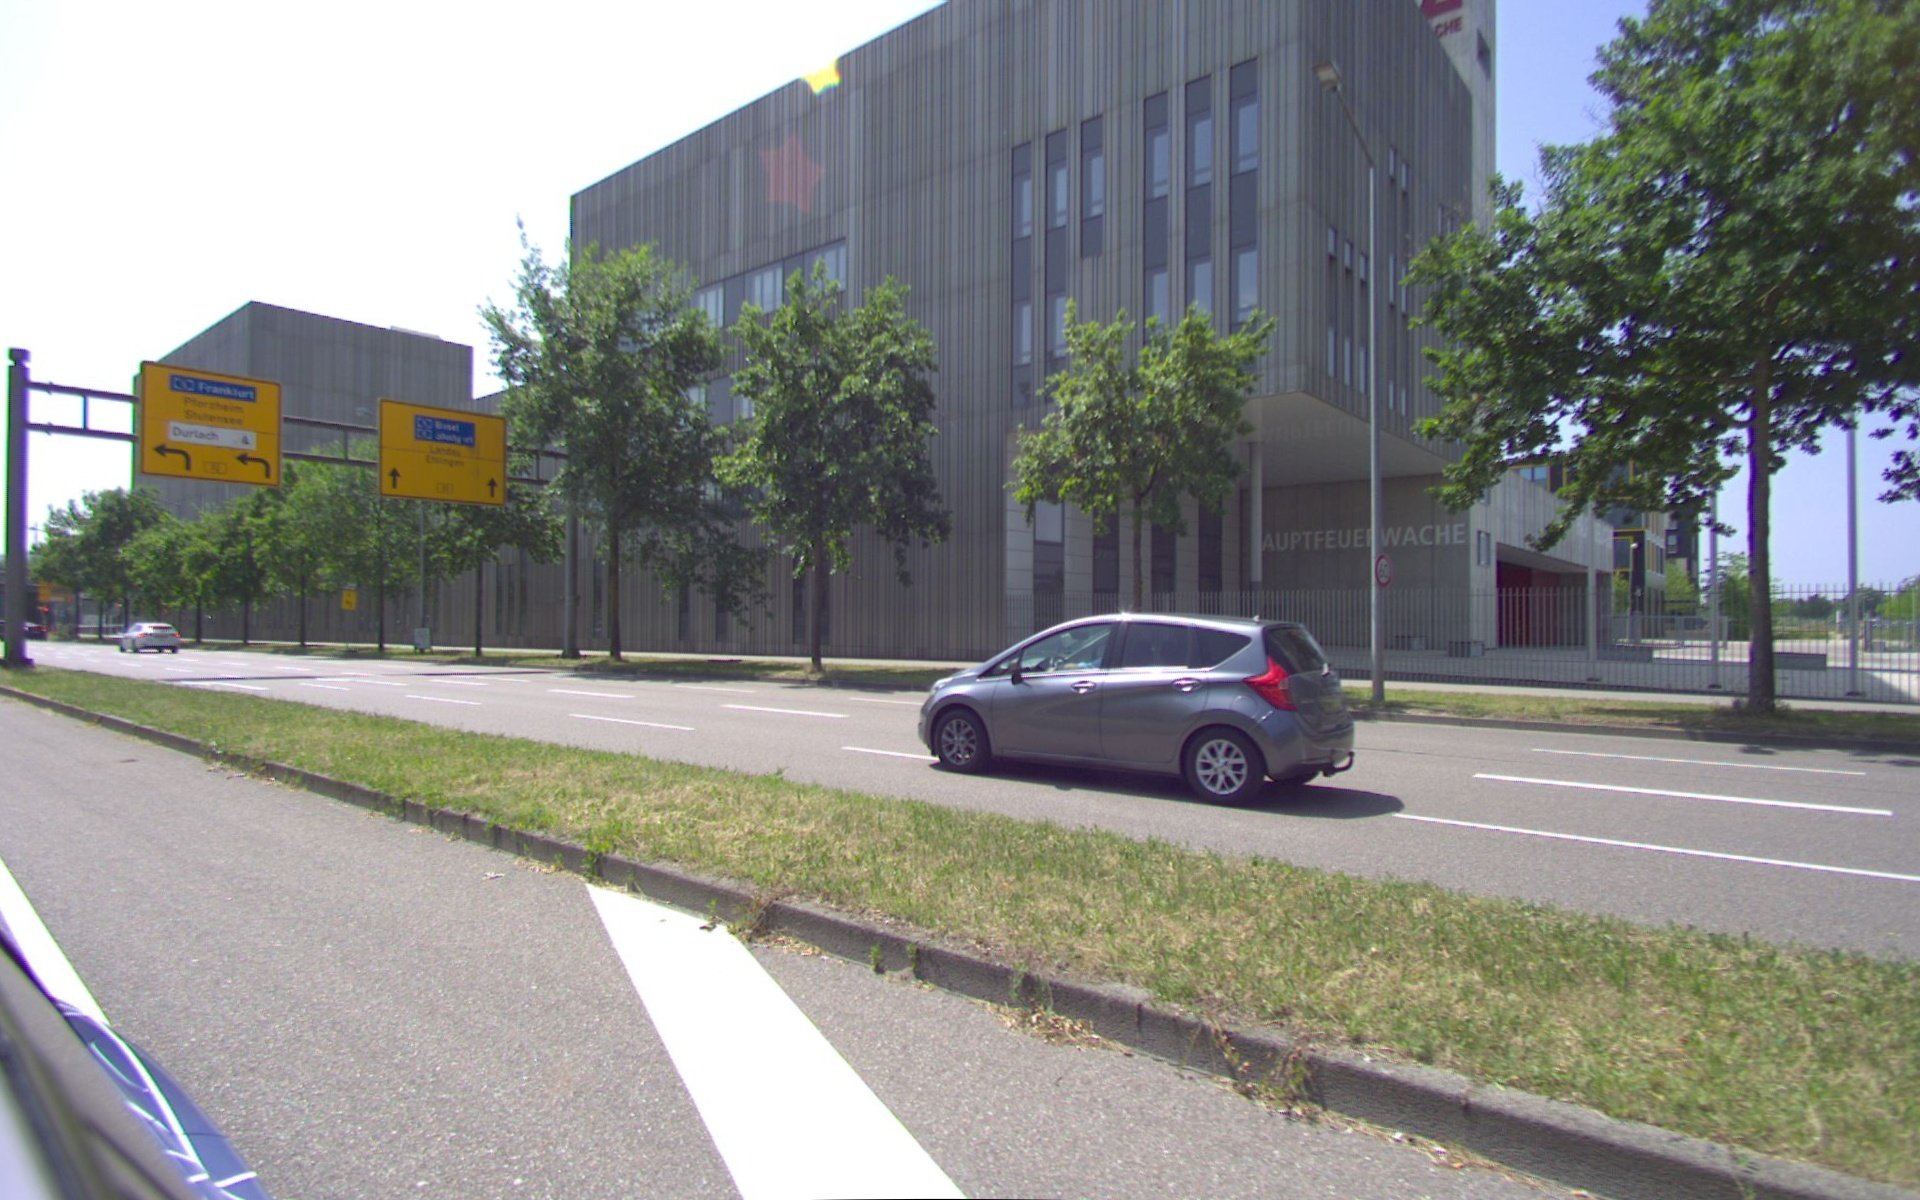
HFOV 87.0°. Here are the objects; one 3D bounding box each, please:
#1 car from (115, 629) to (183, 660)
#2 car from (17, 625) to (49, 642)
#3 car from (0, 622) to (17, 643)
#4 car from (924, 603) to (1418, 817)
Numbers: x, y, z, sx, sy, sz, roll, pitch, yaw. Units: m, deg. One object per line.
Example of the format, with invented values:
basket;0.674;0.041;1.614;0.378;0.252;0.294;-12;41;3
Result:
car;-39.984;2.164;49.872;4.356;1.438;1.791;-1;-3;41
car;-81.314;2.949;88.720;4.014;1.467;1.604;-1;-2;41
car;-81.740;2.756;85.949;4.640;1.760;1.793;-1;-1;38
car;1.724;0.827;8.929;3.936;1.483;1.691;-1;-3;38
